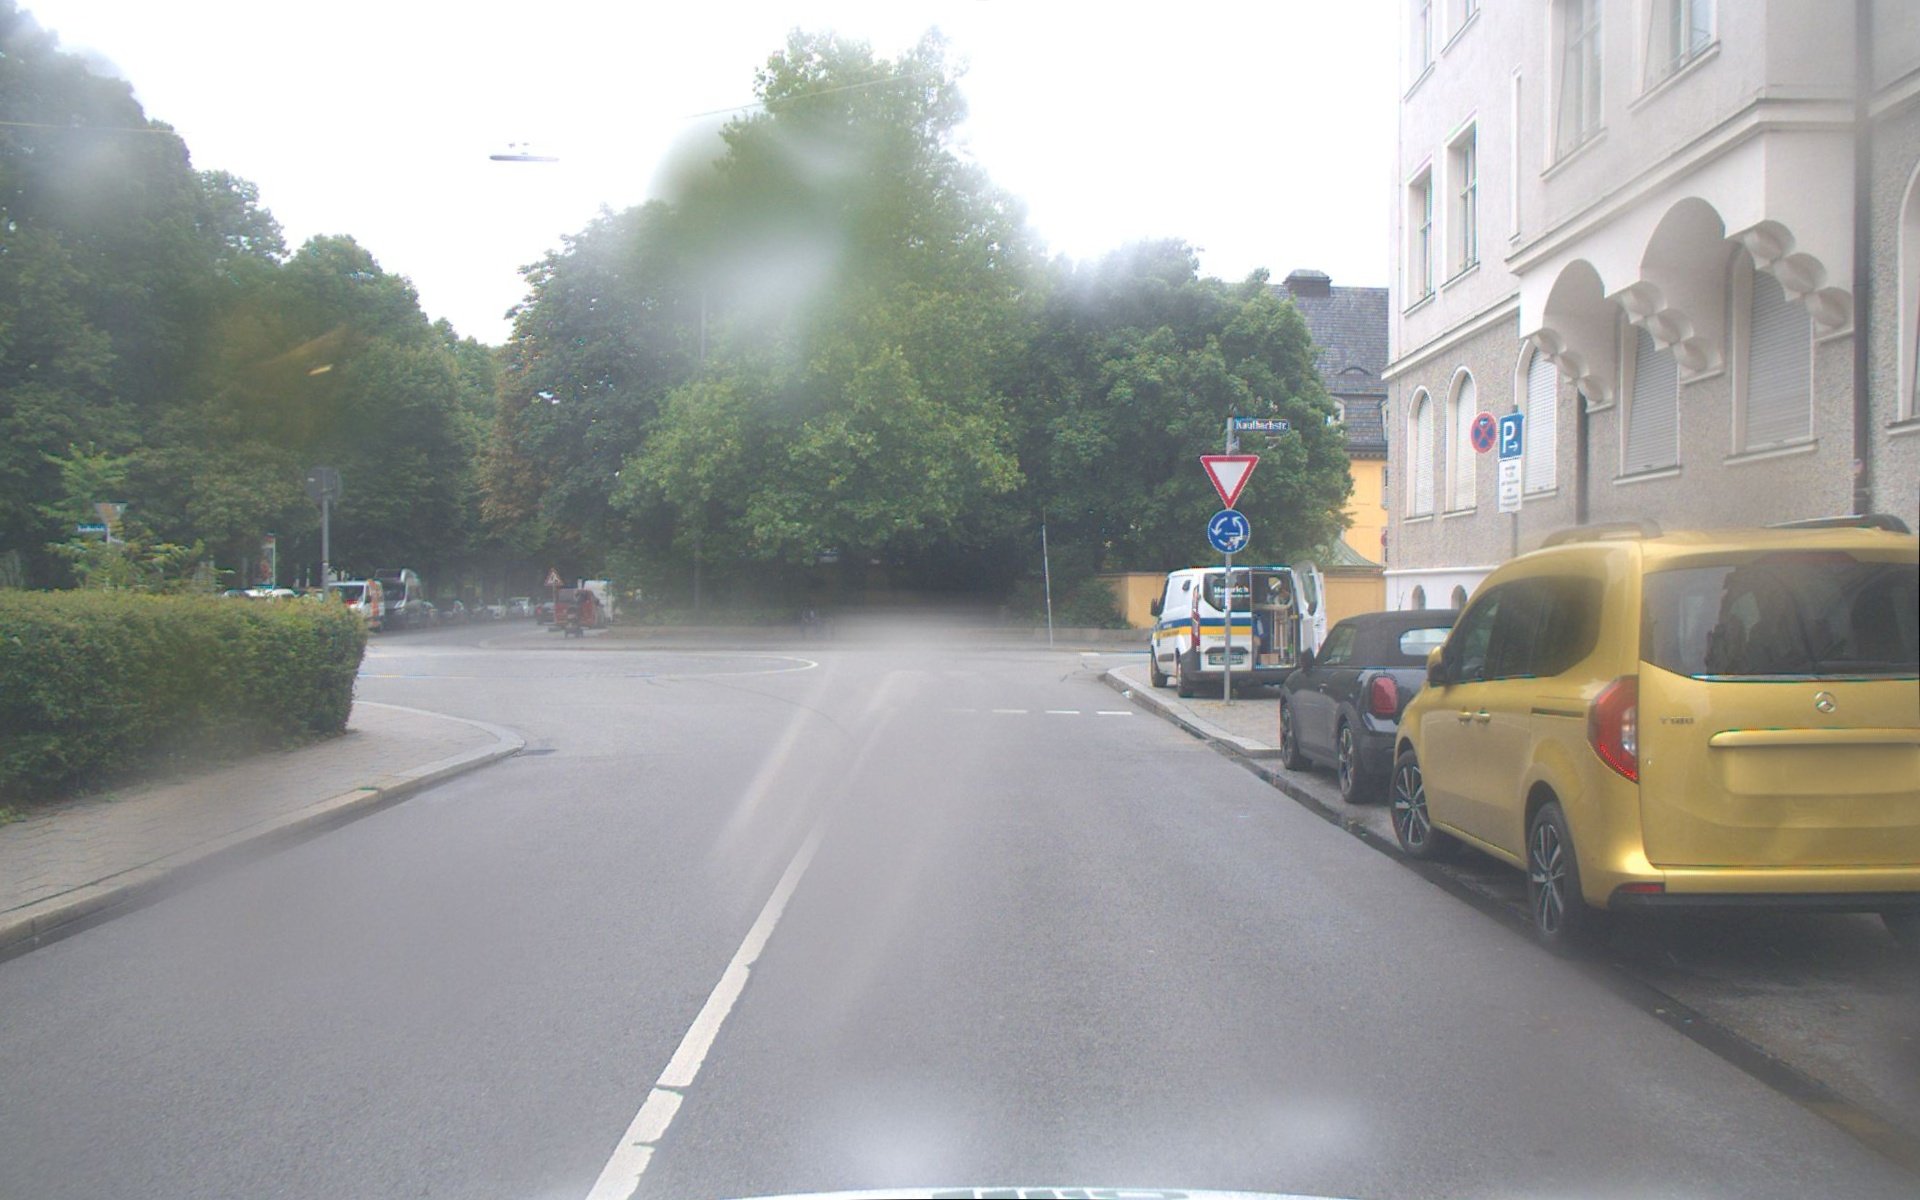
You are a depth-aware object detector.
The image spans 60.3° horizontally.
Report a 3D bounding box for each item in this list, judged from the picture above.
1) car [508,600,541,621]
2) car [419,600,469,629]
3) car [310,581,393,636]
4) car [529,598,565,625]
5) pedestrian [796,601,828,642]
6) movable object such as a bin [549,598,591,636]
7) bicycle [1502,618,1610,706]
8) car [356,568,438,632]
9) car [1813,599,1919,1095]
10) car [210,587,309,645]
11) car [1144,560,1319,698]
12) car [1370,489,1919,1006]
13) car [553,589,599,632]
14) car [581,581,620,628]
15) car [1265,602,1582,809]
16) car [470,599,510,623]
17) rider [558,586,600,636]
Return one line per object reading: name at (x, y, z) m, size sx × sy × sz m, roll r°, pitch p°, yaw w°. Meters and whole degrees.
car at (-33.437, 0.778, 127.057) m, size 1.859 × 1.599 × 4.068 m, roll 0°, pitch 0°, yaw -6°
car at (-28.575, 0.799, 91.660) m, size 1.859 × 1.565 × 4.068 m, roll 0°, pitch 0°, yaw -6°
car at (-26.241, 0.363, 71.539) m, size 2.070 × 2.290 × 5.189 m, roll 0°, pitch 0°, yaw -5°
car at (-23.874, 0.626, 95.705) m, size 1.756 × 1.518 × 3.990 m, roll 0°, pitch 0°, yaw -11°
pedestrian at (-4.460, 0.641, 49.748) m, size 0.794 × 1.210 × 0.920 m, roll 0°, pitch 0°, yaw 5°
movable object such as a bin at (-13.659, 0.590, 57.965) m, size 1.055 × 1.289 × 1.087 m, roll -2°, pitch 0°, yaw 7°
bicycle at (8.337, 0.843, 23.242) m, size 0.680 × 1.113 × 2.283 m, roll -2°, pitch 0°, yaw 0°
car at (-27.438, 0.000, 80.838) m, size 2.289 × 2.973 × 6.571 m, roll 0°, pitch 0°, yaw -5°
car at (3.708, 0.753, 3.784) m, size 1.598 × 1.510 × 3.783 m, roll 0°, pitch 0°, yaw 1°
car at (-24.414, 0.537, 57.822) m, size 1.889 × 1.928 × 4.861 m, roll 0°, pitch 0°, yaw -6°
car at (4.272, 0.415, 26.801) m, size 1.877 × 1.996 × 4.926 m, roll -1°, pitch 0°, yaw -1°
car at (3.508, 0.526, 8.434) m, size 1.812 × 1.885 × 4.822 m, roll 0°, pitch 0°, yaw 2°
car at (-18.321, 0.486, 79.081) m, size 2.005 × 1.956 × 4.434 m, roll 0°, pitch 0°, yaw -11°
car at (-20.544, 0.250, 94.671) m, size 2.004 × 2.603 × 5.235 m, roll 0°, pitch 0°, yaw -10°
car at (3.750, 0.776, 14.046) m, size 1.629 × 1.483 × 3.896 m, roll 0°, pitch 0°, yaw 0°
car at (-31.617, 0.719, 111.339) m, size 1.859 × 1.599 × 4.068 m, roll 0°, pitch 0°, yaw -6°
rider at (-13.550, 0.385, 58.877) m, size 1.059 × 1.696 × 1.140 m, roll -2°, pitch 0°, yaw 7°
